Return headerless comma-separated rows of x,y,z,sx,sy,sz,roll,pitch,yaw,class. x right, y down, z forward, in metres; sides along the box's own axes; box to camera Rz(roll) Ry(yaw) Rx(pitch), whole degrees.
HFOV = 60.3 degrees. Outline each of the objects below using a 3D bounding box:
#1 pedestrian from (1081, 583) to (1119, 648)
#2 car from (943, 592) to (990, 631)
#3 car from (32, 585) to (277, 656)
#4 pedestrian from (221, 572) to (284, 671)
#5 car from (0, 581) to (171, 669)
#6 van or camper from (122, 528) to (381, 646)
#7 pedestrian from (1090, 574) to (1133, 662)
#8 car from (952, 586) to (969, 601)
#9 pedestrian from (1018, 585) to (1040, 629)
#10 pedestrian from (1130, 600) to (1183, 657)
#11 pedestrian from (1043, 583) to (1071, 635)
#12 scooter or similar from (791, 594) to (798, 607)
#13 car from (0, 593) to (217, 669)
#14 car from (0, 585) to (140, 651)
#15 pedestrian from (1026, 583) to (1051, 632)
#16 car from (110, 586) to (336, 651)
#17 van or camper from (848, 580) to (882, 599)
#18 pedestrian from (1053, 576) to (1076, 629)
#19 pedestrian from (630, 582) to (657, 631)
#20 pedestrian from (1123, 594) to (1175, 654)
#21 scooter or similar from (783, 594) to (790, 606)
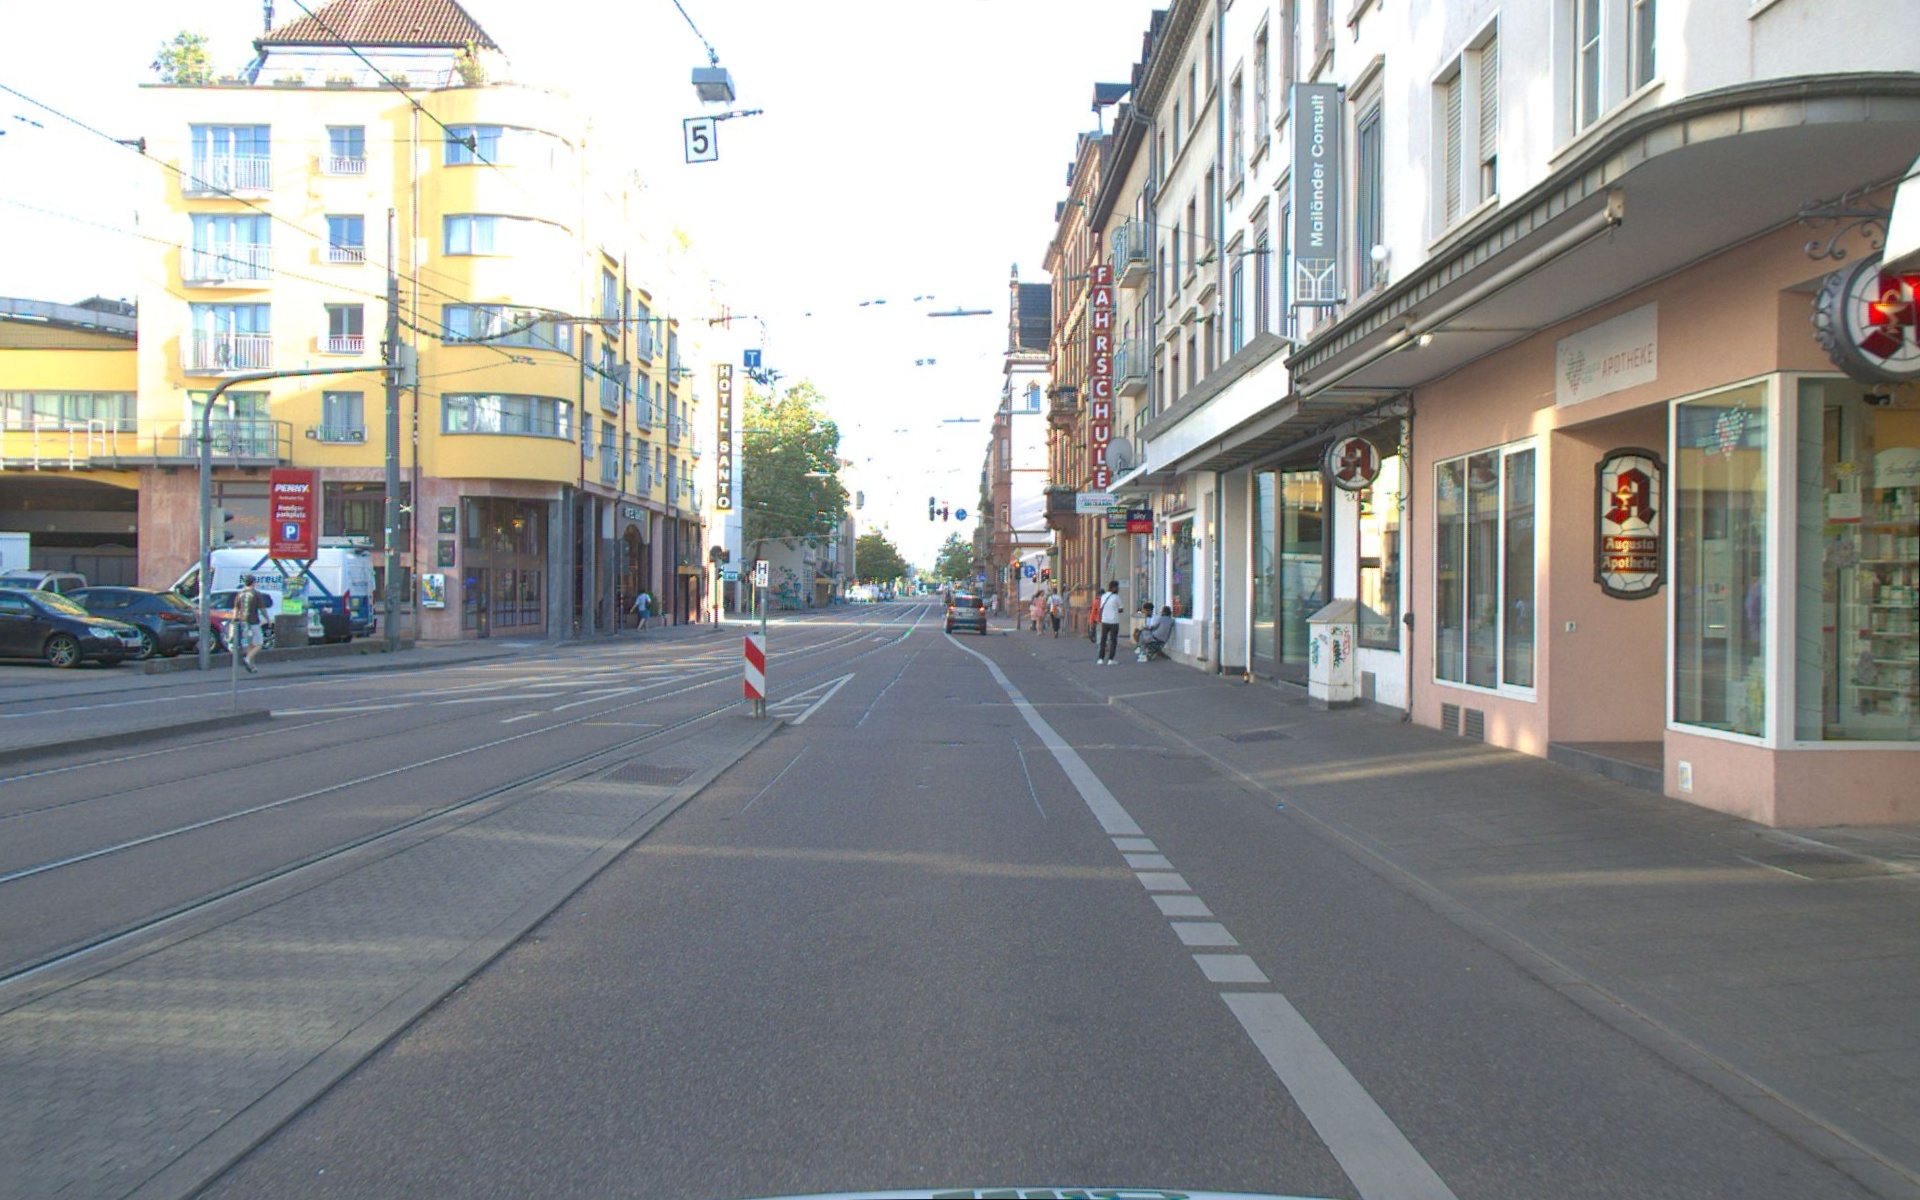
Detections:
3.721,0.406,44.032,0.782,1.655,0.825,-5,1,-1,pedestrian
0.244,0.486,72.173,1.953,1.646,3.999,0,0,-1,car
-17.802,0.432,36.694,4.494,1.501,1.879,0,1,0,car
-13.449,0.398,31.459,0.816,1.864,0.909,0,1,-1,pedestrian
-17.805,0.446,31.319,4.794,1.611,1.879,0,1,0,car
-17.738,-0.337,41.613,5.491,2.876,2.315,0,1,0,van or camper
3.344,0.393,36.525,0.690,1.843,0.680,-5,1,15,pedestrian
0.044,-0.723,195.189,1.910,1.713,4.000,0,0,1,car
2.982,0.310,71.445,0.789,1.831,0.761,-4,1,-1,pedestrian
4.360,0.632,36.705,0.694,1.195,1.010,-6,1,-19,pedestrian
3.504,0.312,59.631,0.789,1.831,1.091,-4,1,-2,pedestrian
-14.620,0.050,145.918,0.506,1.076,1.477,0,0,-2,scooter or similar
-17.947,0.610,34.008,4.494,1.501,1.879,0,1,0,car
-24.937,0.471,46.341,1.953,1.766,4.119,0,0,-2,car
3.017,0.273,63.840,0.789,1.831,0.761,-4,1,-2,pedestrian
-17.372,0.419,39.128,4.494,1.501,1.879,0,1,0,car
-13.915,-1.546,242.984,4.589,2.608,1.979,1,-1,-32,van or camper
3.984,0.096,63.008,0.677,1.941,0.670,-4,1,-2,pedestrian
-12.600,0.254,65.848,0.736,1.850,1.046,5,0,-1,pedestrian
4.318,0.542,37.789,0.822,1.277,0.698,-6,1,-36,pedestrian
-15.320,0.015,145.835,0.506,1.064,1.477,0,0,-2,scooter or similar
